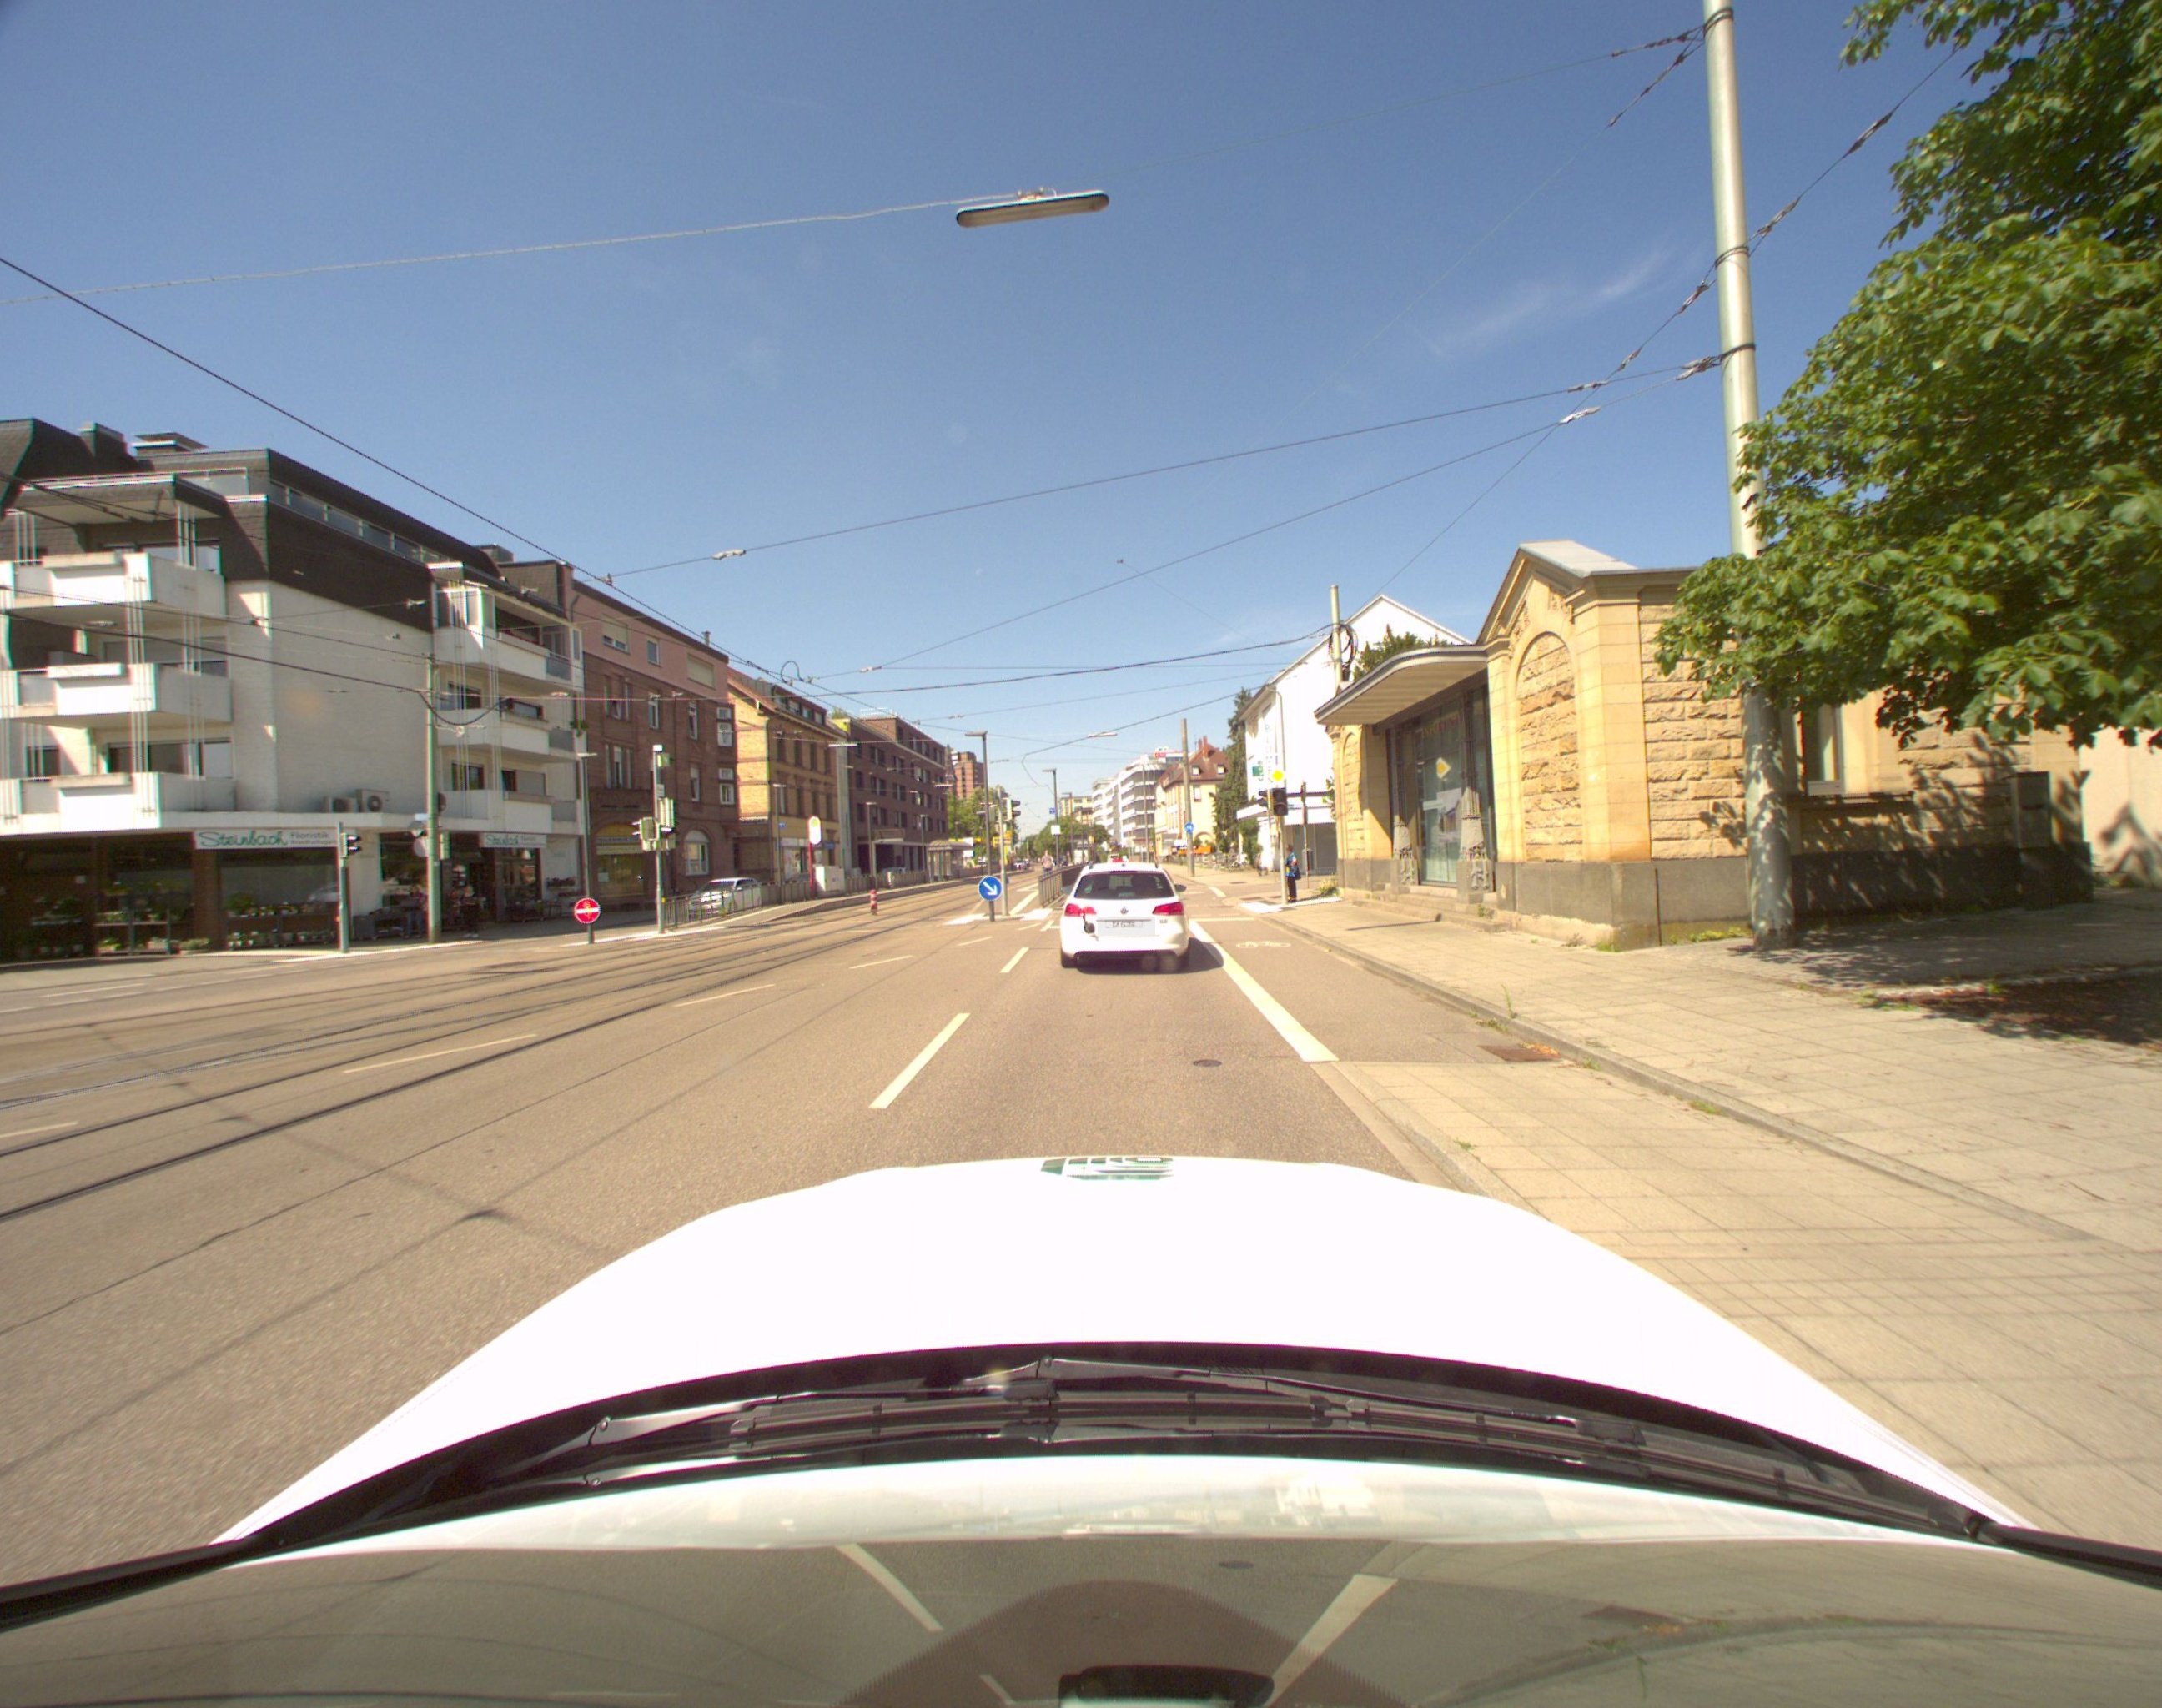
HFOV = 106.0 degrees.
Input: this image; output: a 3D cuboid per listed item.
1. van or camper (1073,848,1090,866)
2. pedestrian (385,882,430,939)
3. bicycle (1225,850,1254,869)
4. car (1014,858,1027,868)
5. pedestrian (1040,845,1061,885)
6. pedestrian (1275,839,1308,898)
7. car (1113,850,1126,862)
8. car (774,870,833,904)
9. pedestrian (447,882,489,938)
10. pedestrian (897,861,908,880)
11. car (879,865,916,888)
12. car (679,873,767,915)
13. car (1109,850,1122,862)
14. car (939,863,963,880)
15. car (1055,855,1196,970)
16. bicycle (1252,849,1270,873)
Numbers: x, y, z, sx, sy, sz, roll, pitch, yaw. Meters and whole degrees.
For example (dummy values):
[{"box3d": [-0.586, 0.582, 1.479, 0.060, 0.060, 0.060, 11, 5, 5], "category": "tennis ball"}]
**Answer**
[{"box3d": [0.068, 0.601, 153.655, 2.934, 3.180, 6.612, -3, 0, 0], "category": "van or camper"}, {"box3d": [-20.519, 1.721, 24.825, 0.676, 1.647, 0.732, -3, 0, 2], "category": "pedestrian"}, {"box3d": [10.235, 0.355, 52.592, 1.704, 1.130, 0.526, -3, 0, 4], "category": "bicycle"}, {"box3d": [-9.659, 1.463, 130.554, 1.661, 1.466, 3.775, -3, 0, 2], "category": "car"}, {"box3d": [-1.422, 0.532, 38.175, 0.823, 1.809, 0.834, -3, 0, 3], "category": "pedestrian"}, {"box3d": [5.644, 0.373, 21.849, 0.773, 1.510, 0.862, -3, 0, 14], "category": "pedestrian"}, {"box3d": [6.737, 0.297, 143.526, 1.988, 2.013, 3.997, -3, 0, -2], "category": "car"}, {"box3d": [-13.534, 1.584, 39.939, 1.568, 1.459, 3.813, -3, 0, -1], "category": "car"}, {"box3d": [-19.200, 1.740, 25.516, 0.883, 1.647, 0.675, -3, -1, -26], "category": "pedestrian"}, {"box3d": [-17.549, 1.659, 80.118, 0.722, 1.791, 0.965, -4, 0, 2], "category": "pedestrian"}, {"box3d": [-12.995, 1.551, 57.859, 1.567, 1.459, 3.739, -3, 0, 1], "category": "car"}, {"box3d": [-14.040, 1.522, 32.194, 1.620, 1.431, 3.963, -2, 0, 1], "category": "car"}, {"box3d": [6.301, 0.344, 148.967, 1.988, 2.013, 3.997, -3, 0, -2], "category": "car"}, {"box3d": [-12.615, 1.665, 79.366, 1.567, 1.459, 3.936, -3, 0, 1], "category": "car"}, {"box3d": [0.662, 0.742, 12.204, 1.745, 1.418, 3.856, -1, 0, 3], "category": "car"}, {"box3d": [9.119, 0.358, 41.241, 0.720, 1.139, 2.204, -3, 0, 15], "category": "bicycle"}]
